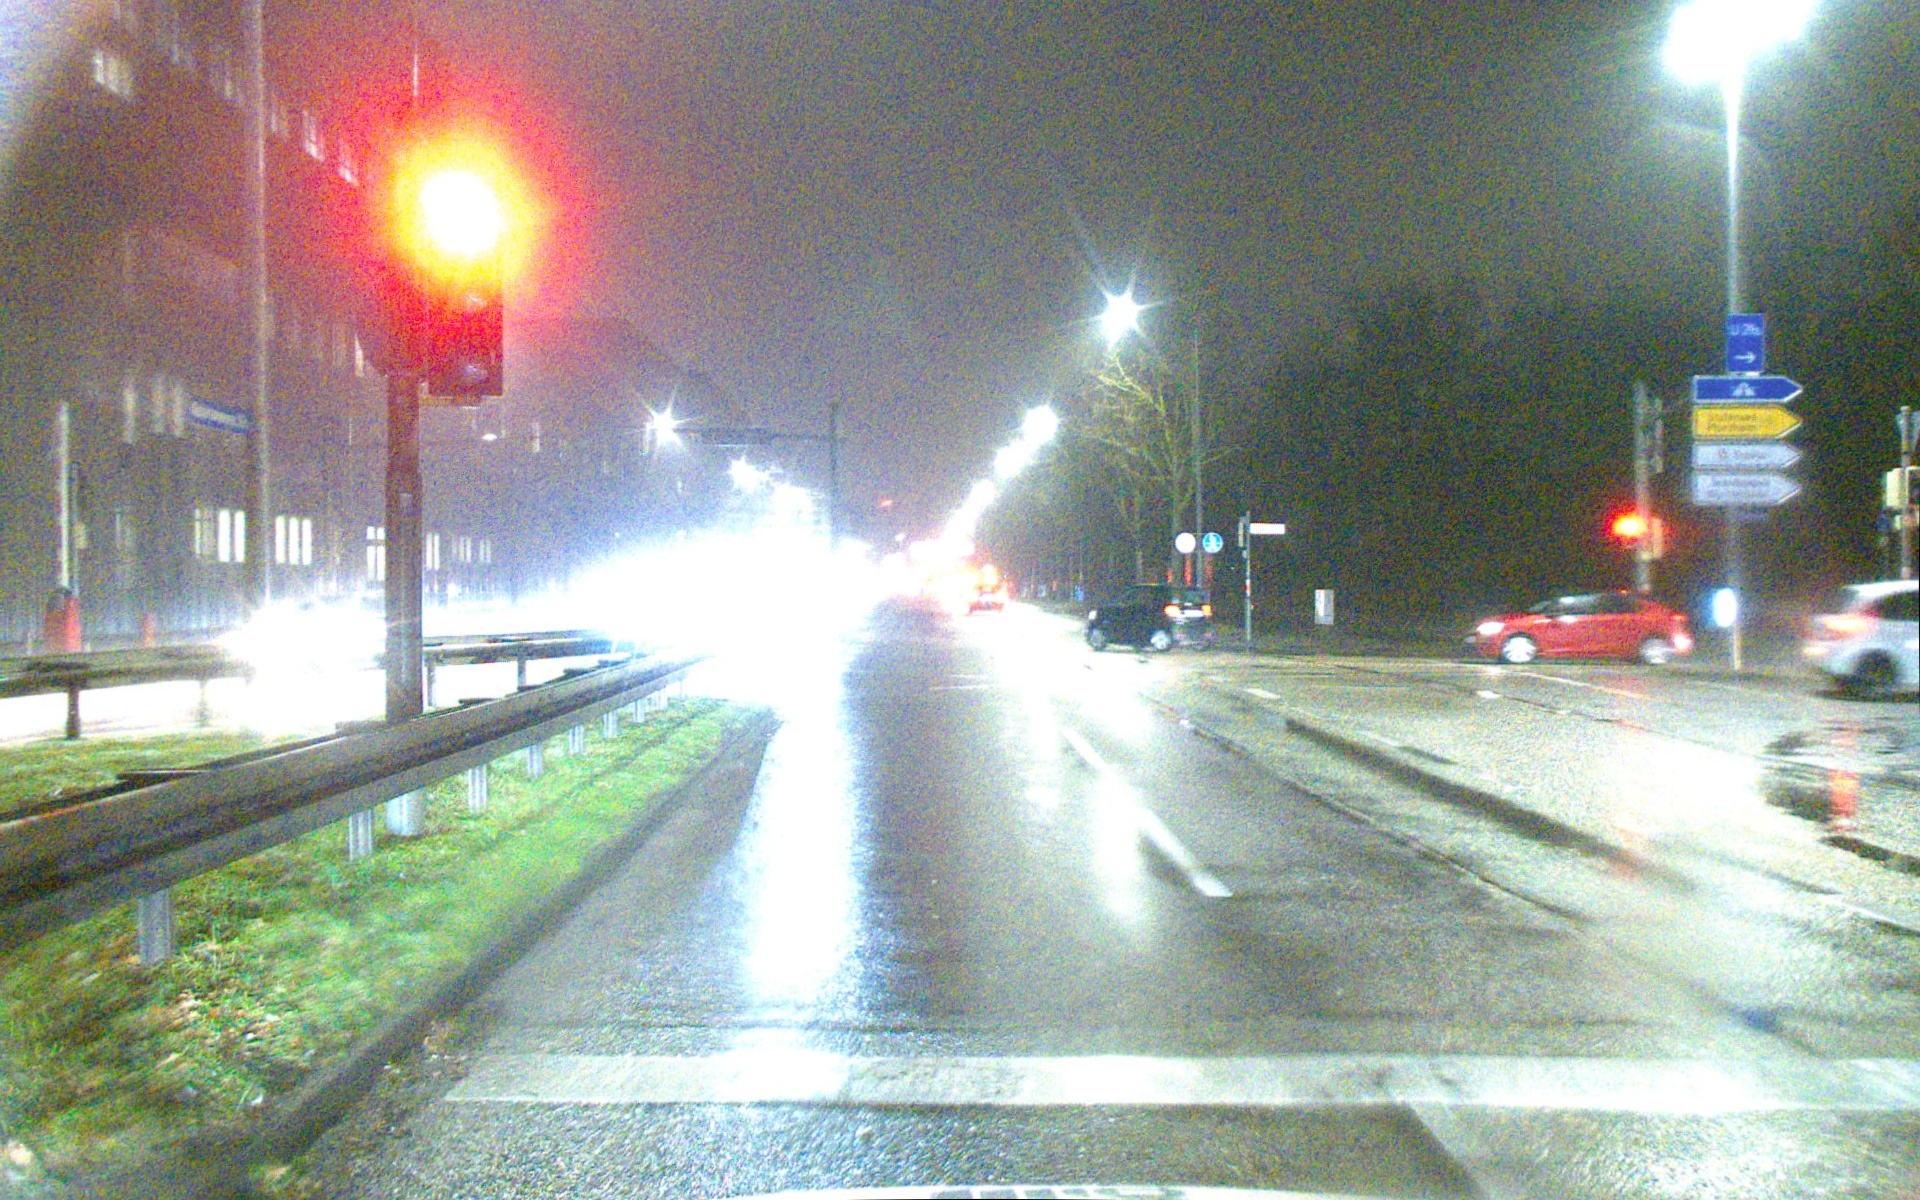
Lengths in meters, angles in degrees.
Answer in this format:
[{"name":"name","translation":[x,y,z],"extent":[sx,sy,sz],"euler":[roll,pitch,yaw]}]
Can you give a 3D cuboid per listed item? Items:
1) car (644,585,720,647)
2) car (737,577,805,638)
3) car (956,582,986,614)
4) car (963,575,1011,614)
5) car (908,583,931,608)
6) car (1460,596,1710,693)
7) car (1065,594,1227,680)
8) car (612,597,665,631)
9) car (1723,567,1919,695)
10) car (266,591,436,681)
[{"name":"car","translation":[-8.753,0.497,52.407],"extent":[1.746,1.847,3.999],"euler":[-1,0,-1]},{"name":"car","translation":[-6.510,0.251,57.386],"extent":[1.953,2.049,3.999],"euler":[-1,0,-1]},{"name":"car","translation":[0.785,-0.122,121.556],"extent":[2.163,2.253,3.642],"euler":[0,0,-1]},{"name":"car","translation":[1.236,-0.240,77.713],"extent":[1.865,1.811,3.995],"euler":[0,0,-5]},{"name":"car","translation":[-3.394,-0.376,139.664],"extent":[1.953,2.049,3.999],"euler":[0,0,-1]},{"name":"car","translation":[12.061,0.839,32.181],"extent":[4.245,1.785,1.986],"euler":[0,-1,9]},{"name":"car","translation":[4.211,0.813,37.692],"extent":[3.368,1.870,1.677],"euler":[0,-1,43]},{"name":"car","translation":[-15.637,0.693,80.647],"extent":[1.809,1.618,4.351],"euler":[0,0,-1]},{"name":"car","translation":[12.939,0.410,22.049],"extent":[4.851,1.638,2.000],"euler":[0,-1,20]},{"name":"car","translation":[-11.683,0.654,32.038],"extent":[1.734,1.597,4.330],"euler":[-1,0,-1]}]
